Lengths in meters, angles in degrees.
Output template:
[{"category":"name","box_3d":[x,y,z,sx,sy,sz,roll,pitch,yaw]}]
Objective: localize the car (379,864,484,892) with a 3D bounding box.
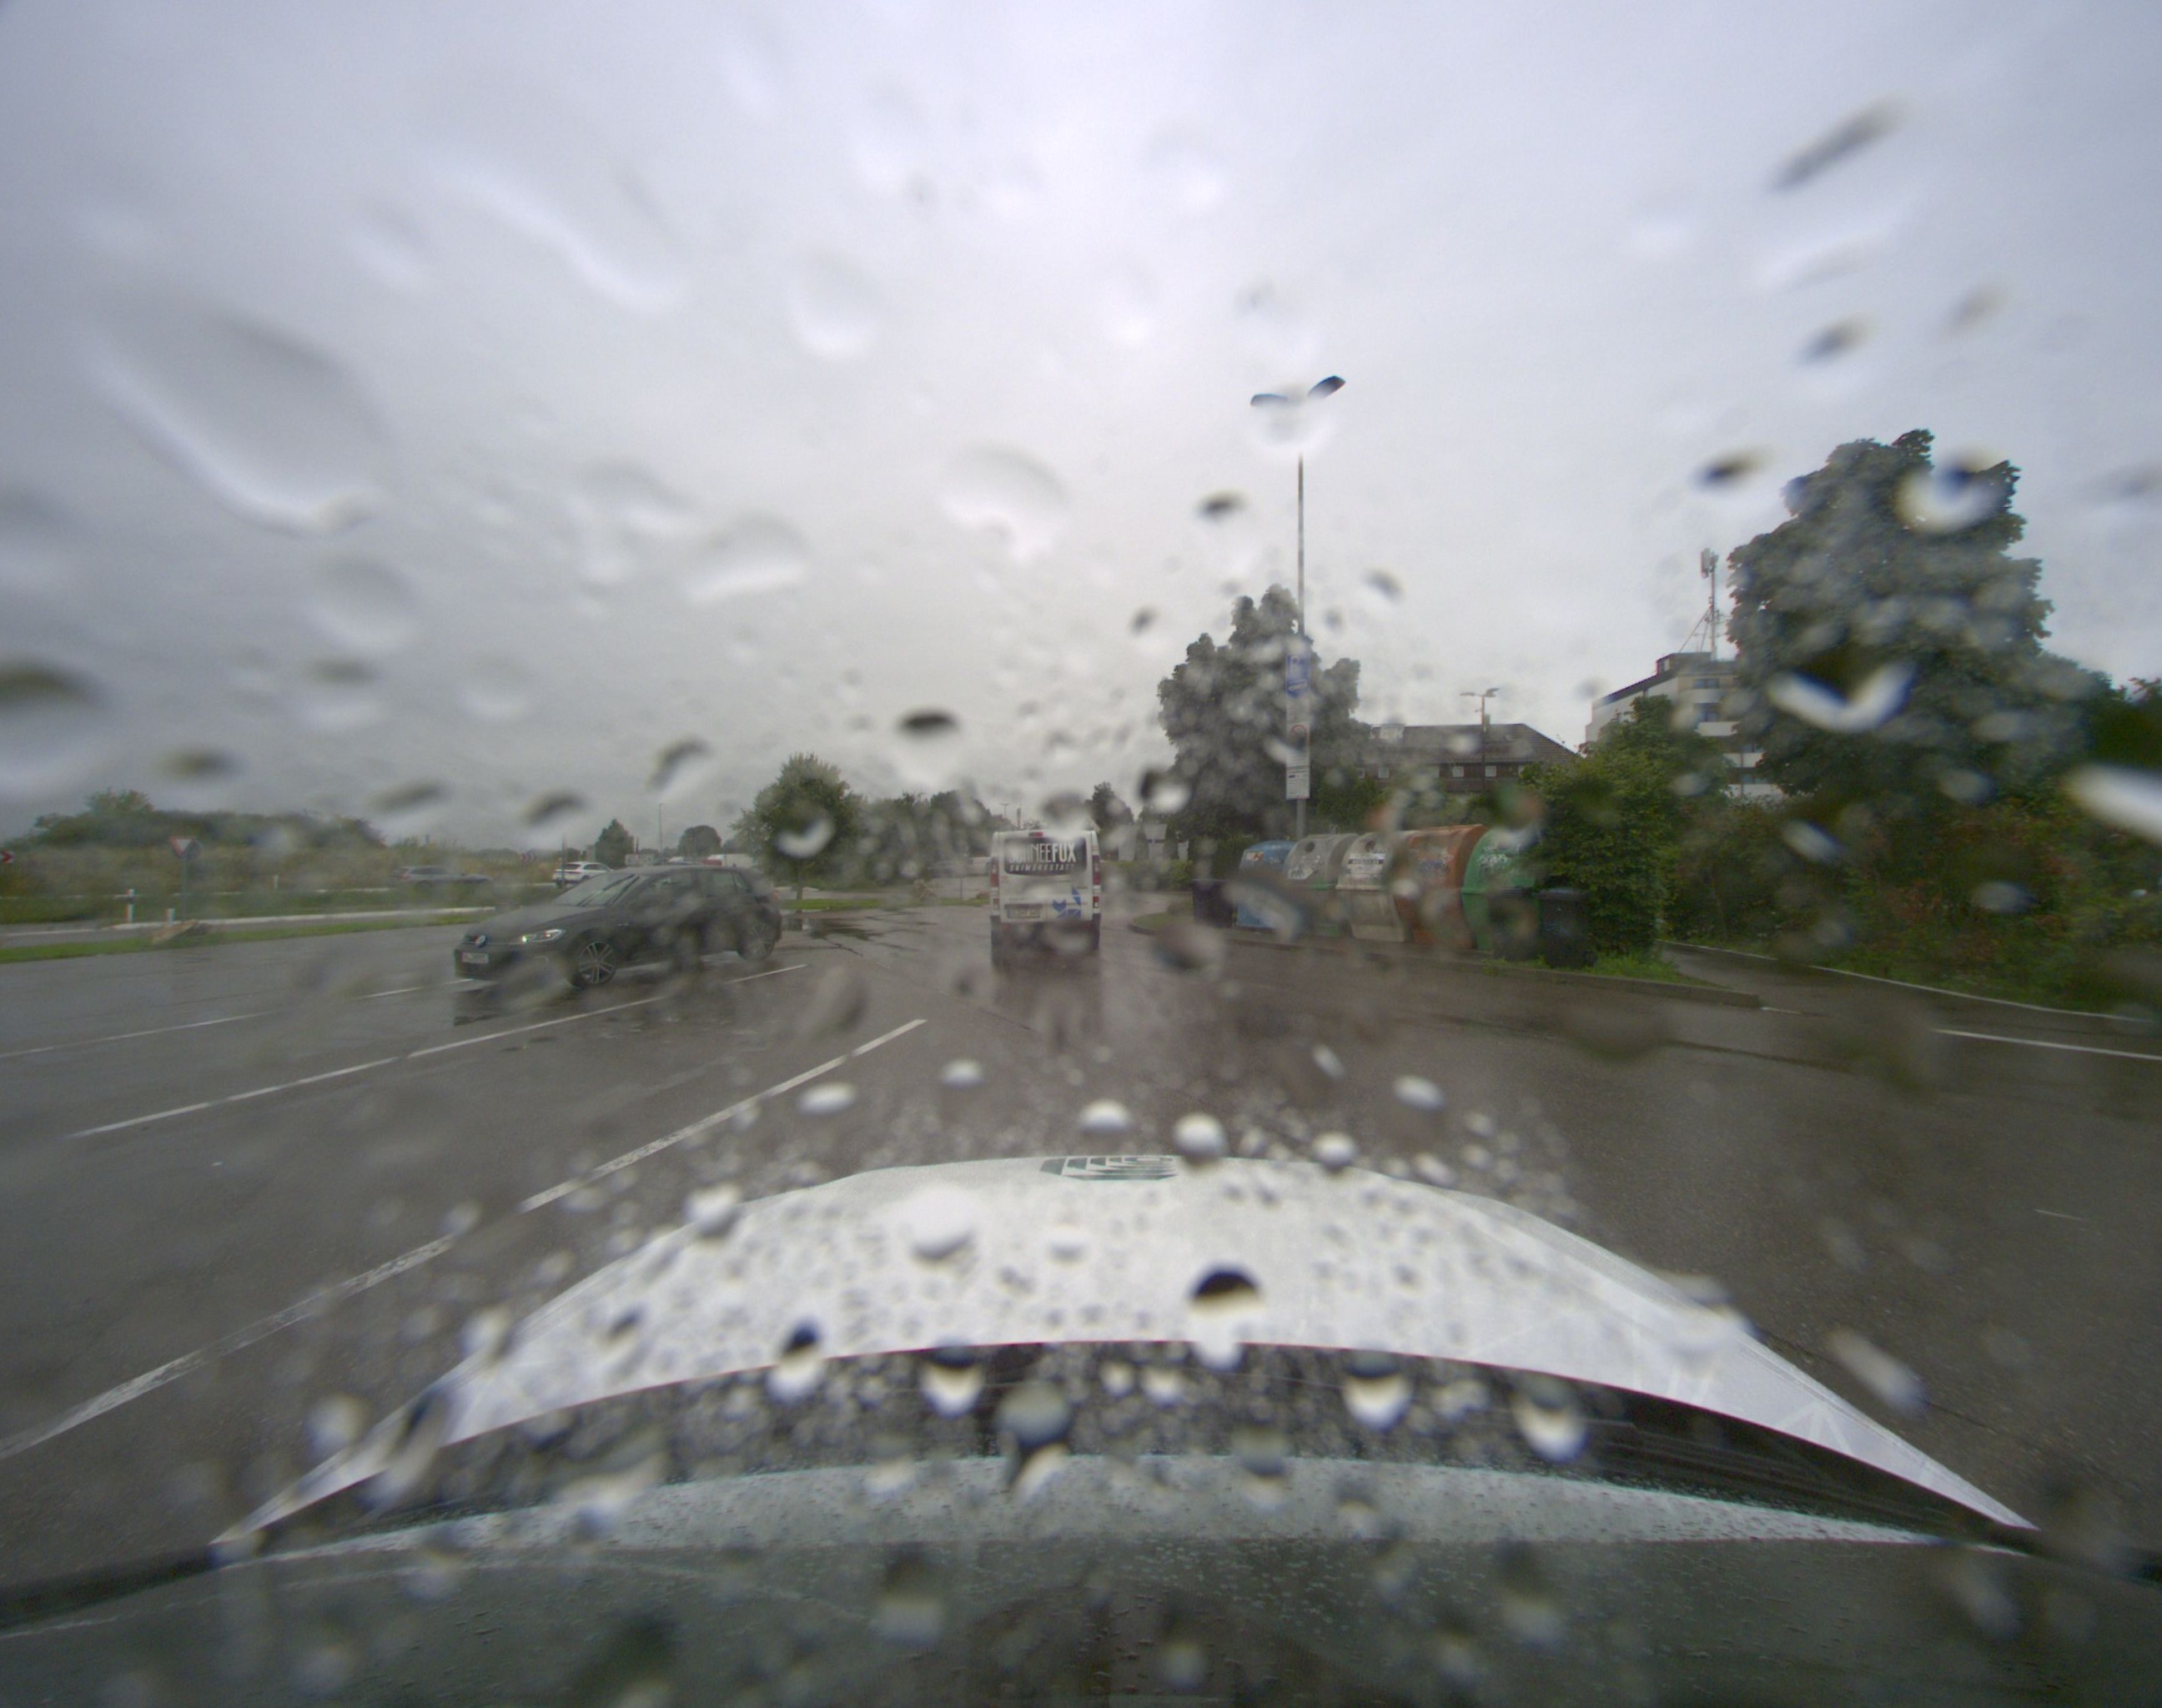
[{"category":"car","box_3d":[-34.857,1.274,43.838,1.672,1.326,4.068,-1,0,29]}]

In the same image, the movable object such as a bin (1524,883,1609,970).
[{"category":"movable object such as a bin","box_3d":[5.461,0.802,9.182,0.626,0.920,0.557,-1,0,1]}]

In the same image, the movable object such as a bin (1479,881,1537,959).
[{"category":"movable object such as a bin","box_3d":[5.243,0.802,10.011,0.491,0.920,0.416,-1,0,1]}]

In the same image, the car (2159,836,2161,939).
[{"category":"car","box_3d":[12.635,0.606,8.476,3.681,1.512,1.531,1,-2,-35]}]

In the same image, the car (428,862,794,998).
[{"category":"car","box_3d":[-6.143,0.872,11.236,1.758,1.433,4.101,-1,0,24]}]

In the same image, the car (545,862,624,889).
[{"category":"car","box_3d":[-31.686,1.319,52.143,1.676,1.584,4.403,-1,0,14]}]

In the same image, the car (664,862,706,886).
[{"category":"car","box_3d":[-32.618,1.637,67.238,1.994,1.873,4.627,-1,0,-11]}]

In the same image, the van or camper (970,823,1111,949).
[{"category":"van or camper","box_3d":[-0.721,0.535,15.462,2.182,1.945,5.193,-1,-1,-2]}]

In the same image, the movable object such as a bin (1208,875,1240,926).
[{"category":"movable object such as a bin","box_3d":[2.705,0.873,15.398,0.448,0.917,0.487,-1,0,-9]}]

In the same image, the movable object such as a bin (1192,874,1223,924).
[{"category":"movable object such as a bin","box_3d":[2.469,0.865,15.897,0.448,0.938,0.487,-1,0,-9]}]

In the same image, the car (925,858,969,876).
[{"category":"car","box_3d":[-12.305,1.223,74.939,3.709,1.551,1.454,-1,0,9]}]

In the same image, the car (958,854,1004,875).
[{"category":"car","box_3d":[-10.378,1.065,84.663,4.493,2.033,1.649,-1,0,9]}]

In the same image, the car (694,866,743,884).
[{"category":"car","box_3d":[-37.842,2.173,85.134,1.726,1.758,4.394,-2,-1,41]}]

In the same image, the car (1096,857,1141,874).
[{"category":"car","box_3d":[3.600,1.114,77.994,4.150,1.497,1.722,-1,0,9]}]
